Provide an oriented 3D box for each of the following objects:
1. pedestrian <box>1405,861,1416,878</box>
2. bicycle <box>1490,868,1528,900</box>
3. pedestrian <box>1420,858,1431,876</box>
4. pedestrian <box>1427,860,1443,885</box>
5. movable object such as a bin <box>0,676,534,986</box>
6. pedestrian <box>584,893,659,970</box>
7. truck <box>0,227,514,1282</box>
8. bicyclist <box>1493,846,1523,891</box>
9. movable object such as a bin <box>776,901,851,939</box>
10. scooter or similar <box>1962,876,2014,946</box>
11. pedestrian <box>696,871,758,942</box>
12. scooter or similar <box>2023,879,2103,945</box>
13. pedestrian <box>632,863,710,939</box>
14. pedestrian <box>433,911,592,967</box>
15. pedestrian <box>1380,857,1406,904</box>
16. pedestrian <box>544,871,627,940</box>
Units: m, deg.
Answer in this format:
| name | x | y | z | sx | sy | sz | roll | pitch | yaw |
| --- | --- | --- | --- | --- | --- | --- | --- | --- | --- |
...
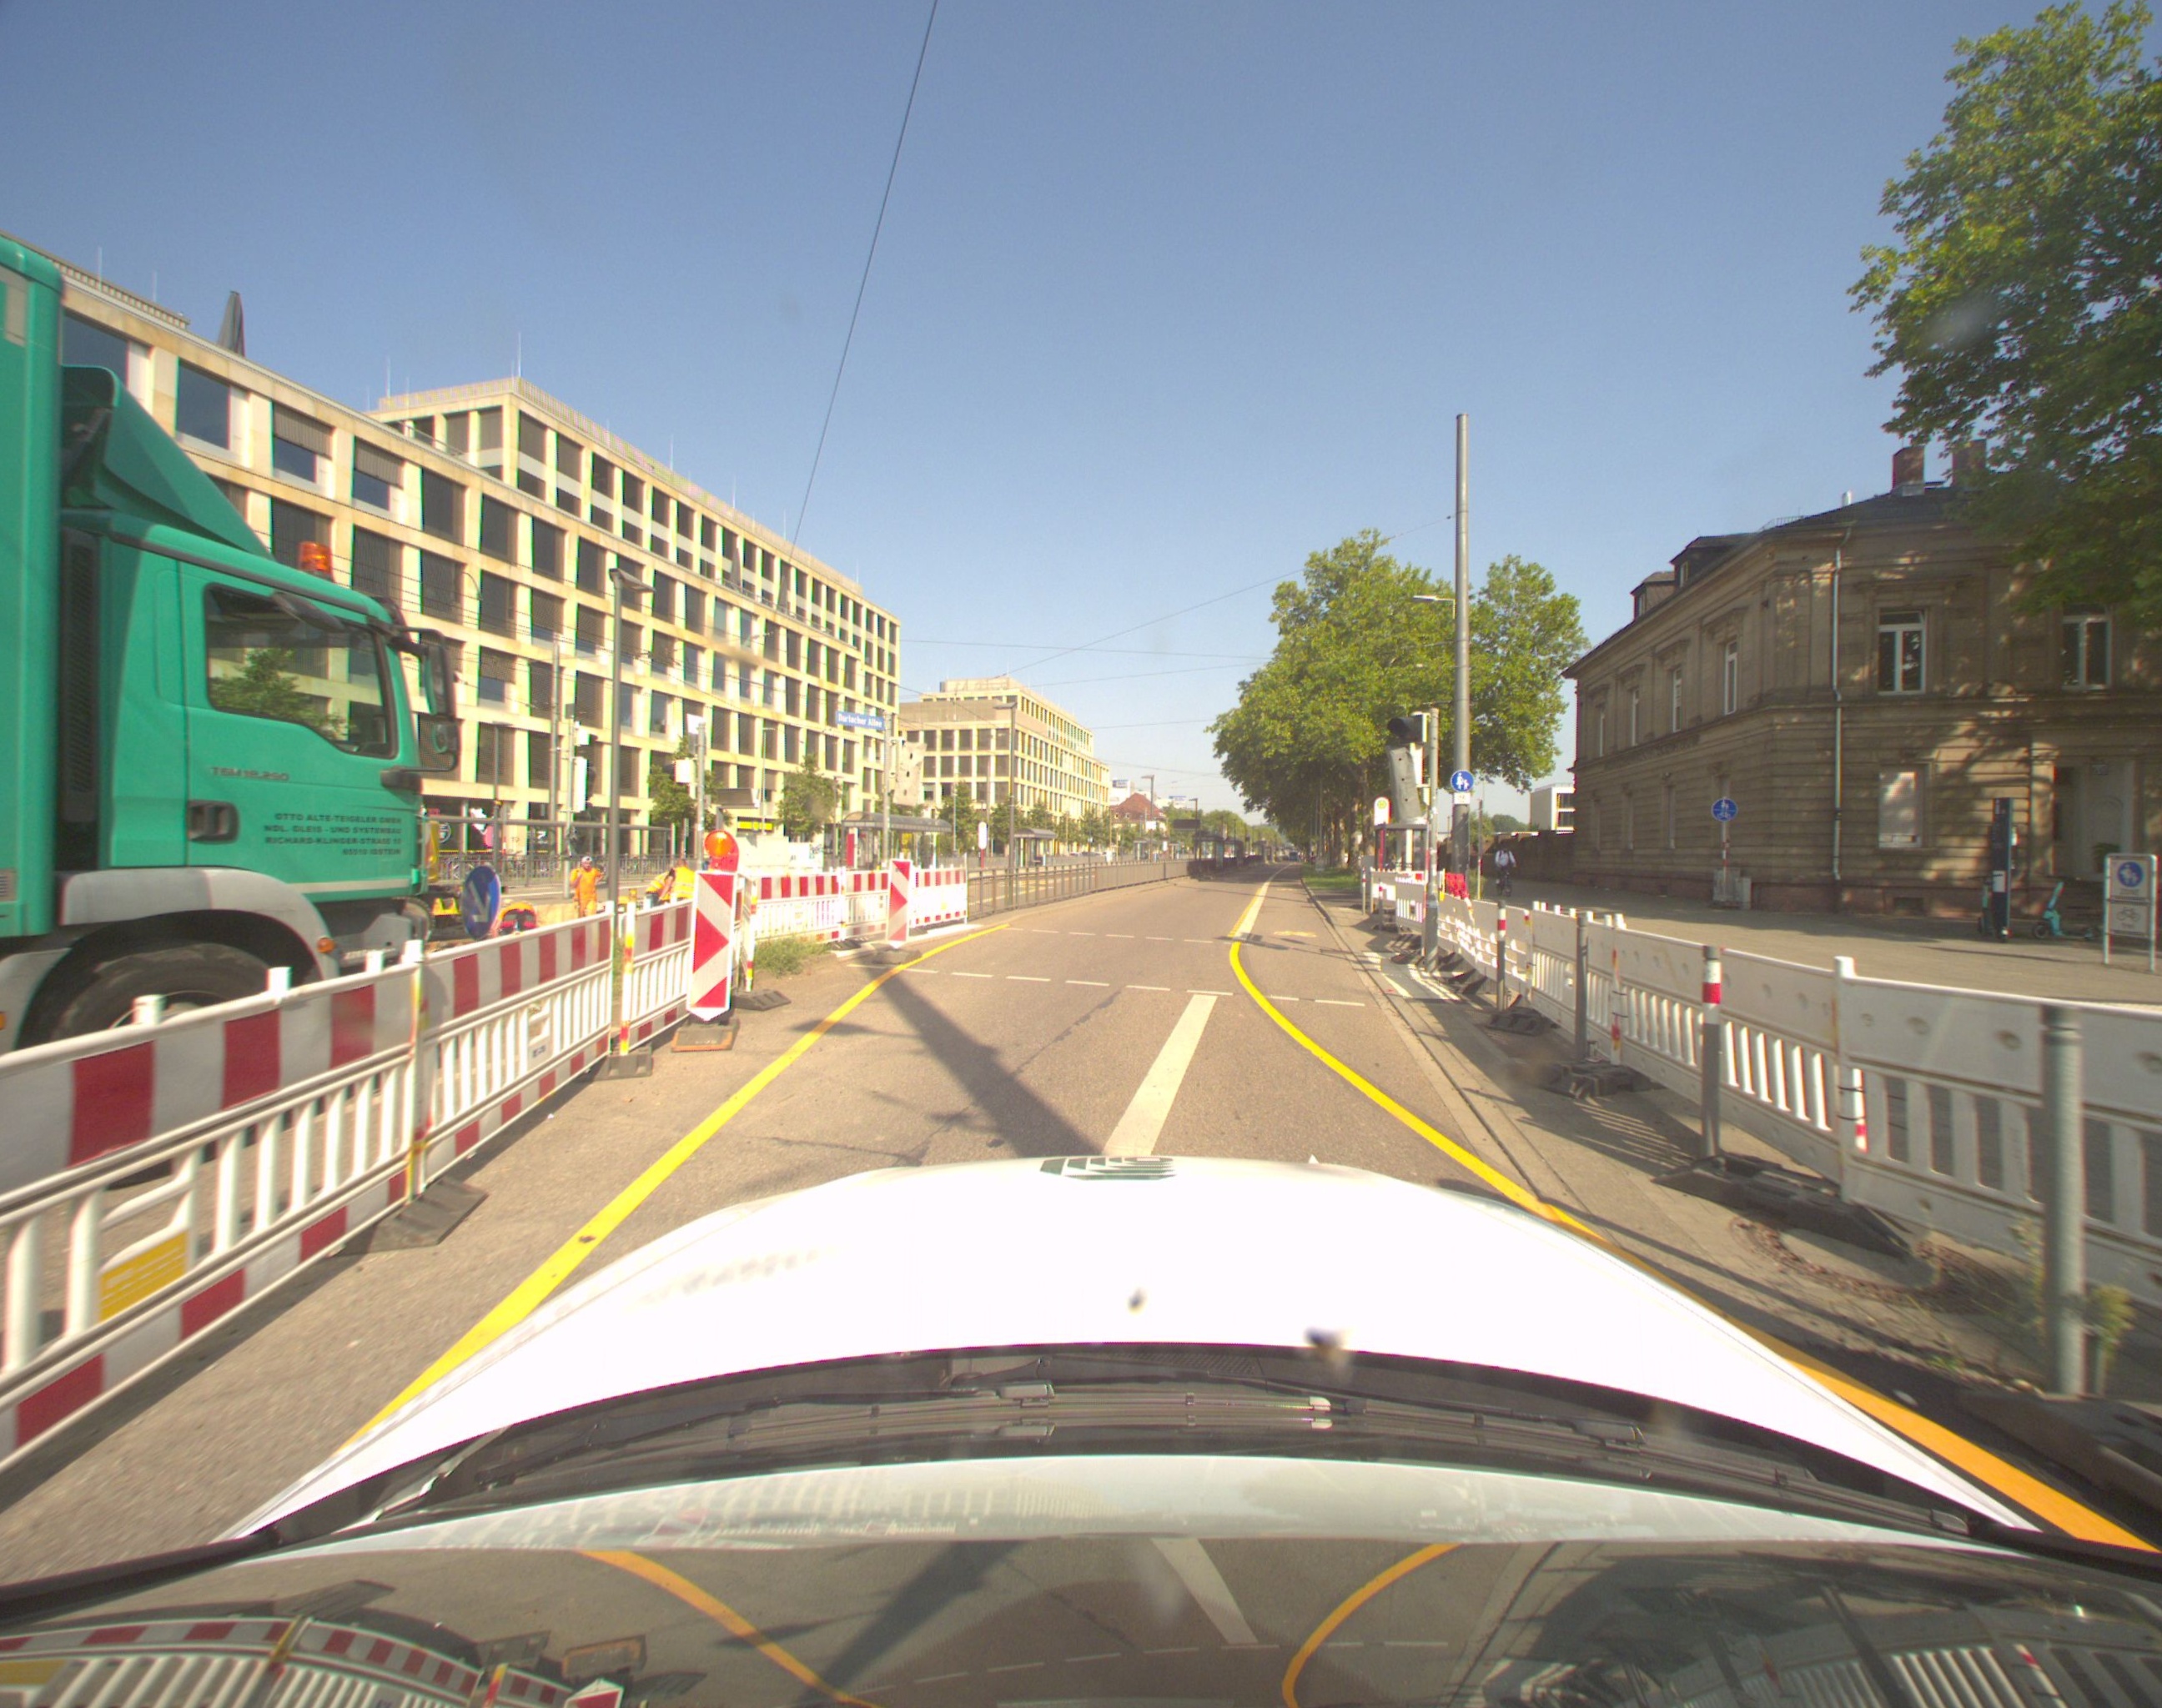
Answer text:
| name | x | y | z | sx | sy | sz | roll | pitch | yaw |
| --- | --- | --- | --- | --- | --- | --- | --- | --- | --- |
| pedestrian | 30.203 | 1.425 | 74.669 | 0.800 | 1.604 | 0.951 | -1 | -1 | 15 |
| bicycle | 15.081 | 1.036 | 28.757 | 0.712 | 1.042 | 1.909 | 0 | 0 | 13 |
| pedestrian | 31.423 | 1.215 | 74.264 | 0.800 | 1.604 | 0.951 | -1 | -1 | 15 |
| pedestrian | 23.513 | 1.230 | 54.141 | 0.813 | 1.686 | 1.016 | 0 | -1 | 15 |
| movable object such as a bin | -14.437 | -0.294 | 12.747 | 3.470 | 4.013 | 9.098 | 0 | 0 | 39 |
| pedestrian | -7.818 | 1.292 | 13.852 | 0.973 | 1.190 | 0.803 | 0 | 0 | 39 |
| truck | -5.308 | -0.356 | 1.059 | 2.660 | 3.678 | 8.228 | 1 | 0 | 6 |
| bicyclist | 15.089 | 0.498 | 28.775 | 0.712 | 1.543 | 0.959 | 0 | 0 | 13 |
| movable object such as a bin | -5.394 | 1.311 | 16.402 | 1.491 | 0.652 | 0.706 | 0 | 0 | 36 |
| scooter or similar | 17.303 | 1.059 | 15.550 | 0.417 | 1.210 | 1.263 | 0 | 1 | 37 |
| pedestrian | -6.913 | 0.999 | 15.906 | 0.829 | 1.306 | 0.803 | 0 | 0 | 39 |
| scooter or similar | 18.866 | 1.100 | 15.643 | 1.251 | 1.210 | 0.421 | -1 | 1 | -10 |
| pedestrian | -7.547 | 0.829 | 14.968 | 1.299 | 1.306 | 0.803 | 0 | 0 | 39 |
| pedestrian | -8.185 | 1.198 | 11.742 | 1.886 | 0.636 | 0.917 | 1 | 0 | 18 |
| pedestrian | 11.594 | 0.976 | 30.270 | 0.687 | 1.697 | 0.647 | 0 | -1 | -6 |
| pedestrian | -10.029 | 1.023 | 16.509 | 1.007 | 1.306 | 0.987 | 0 | 0 | 18 |
